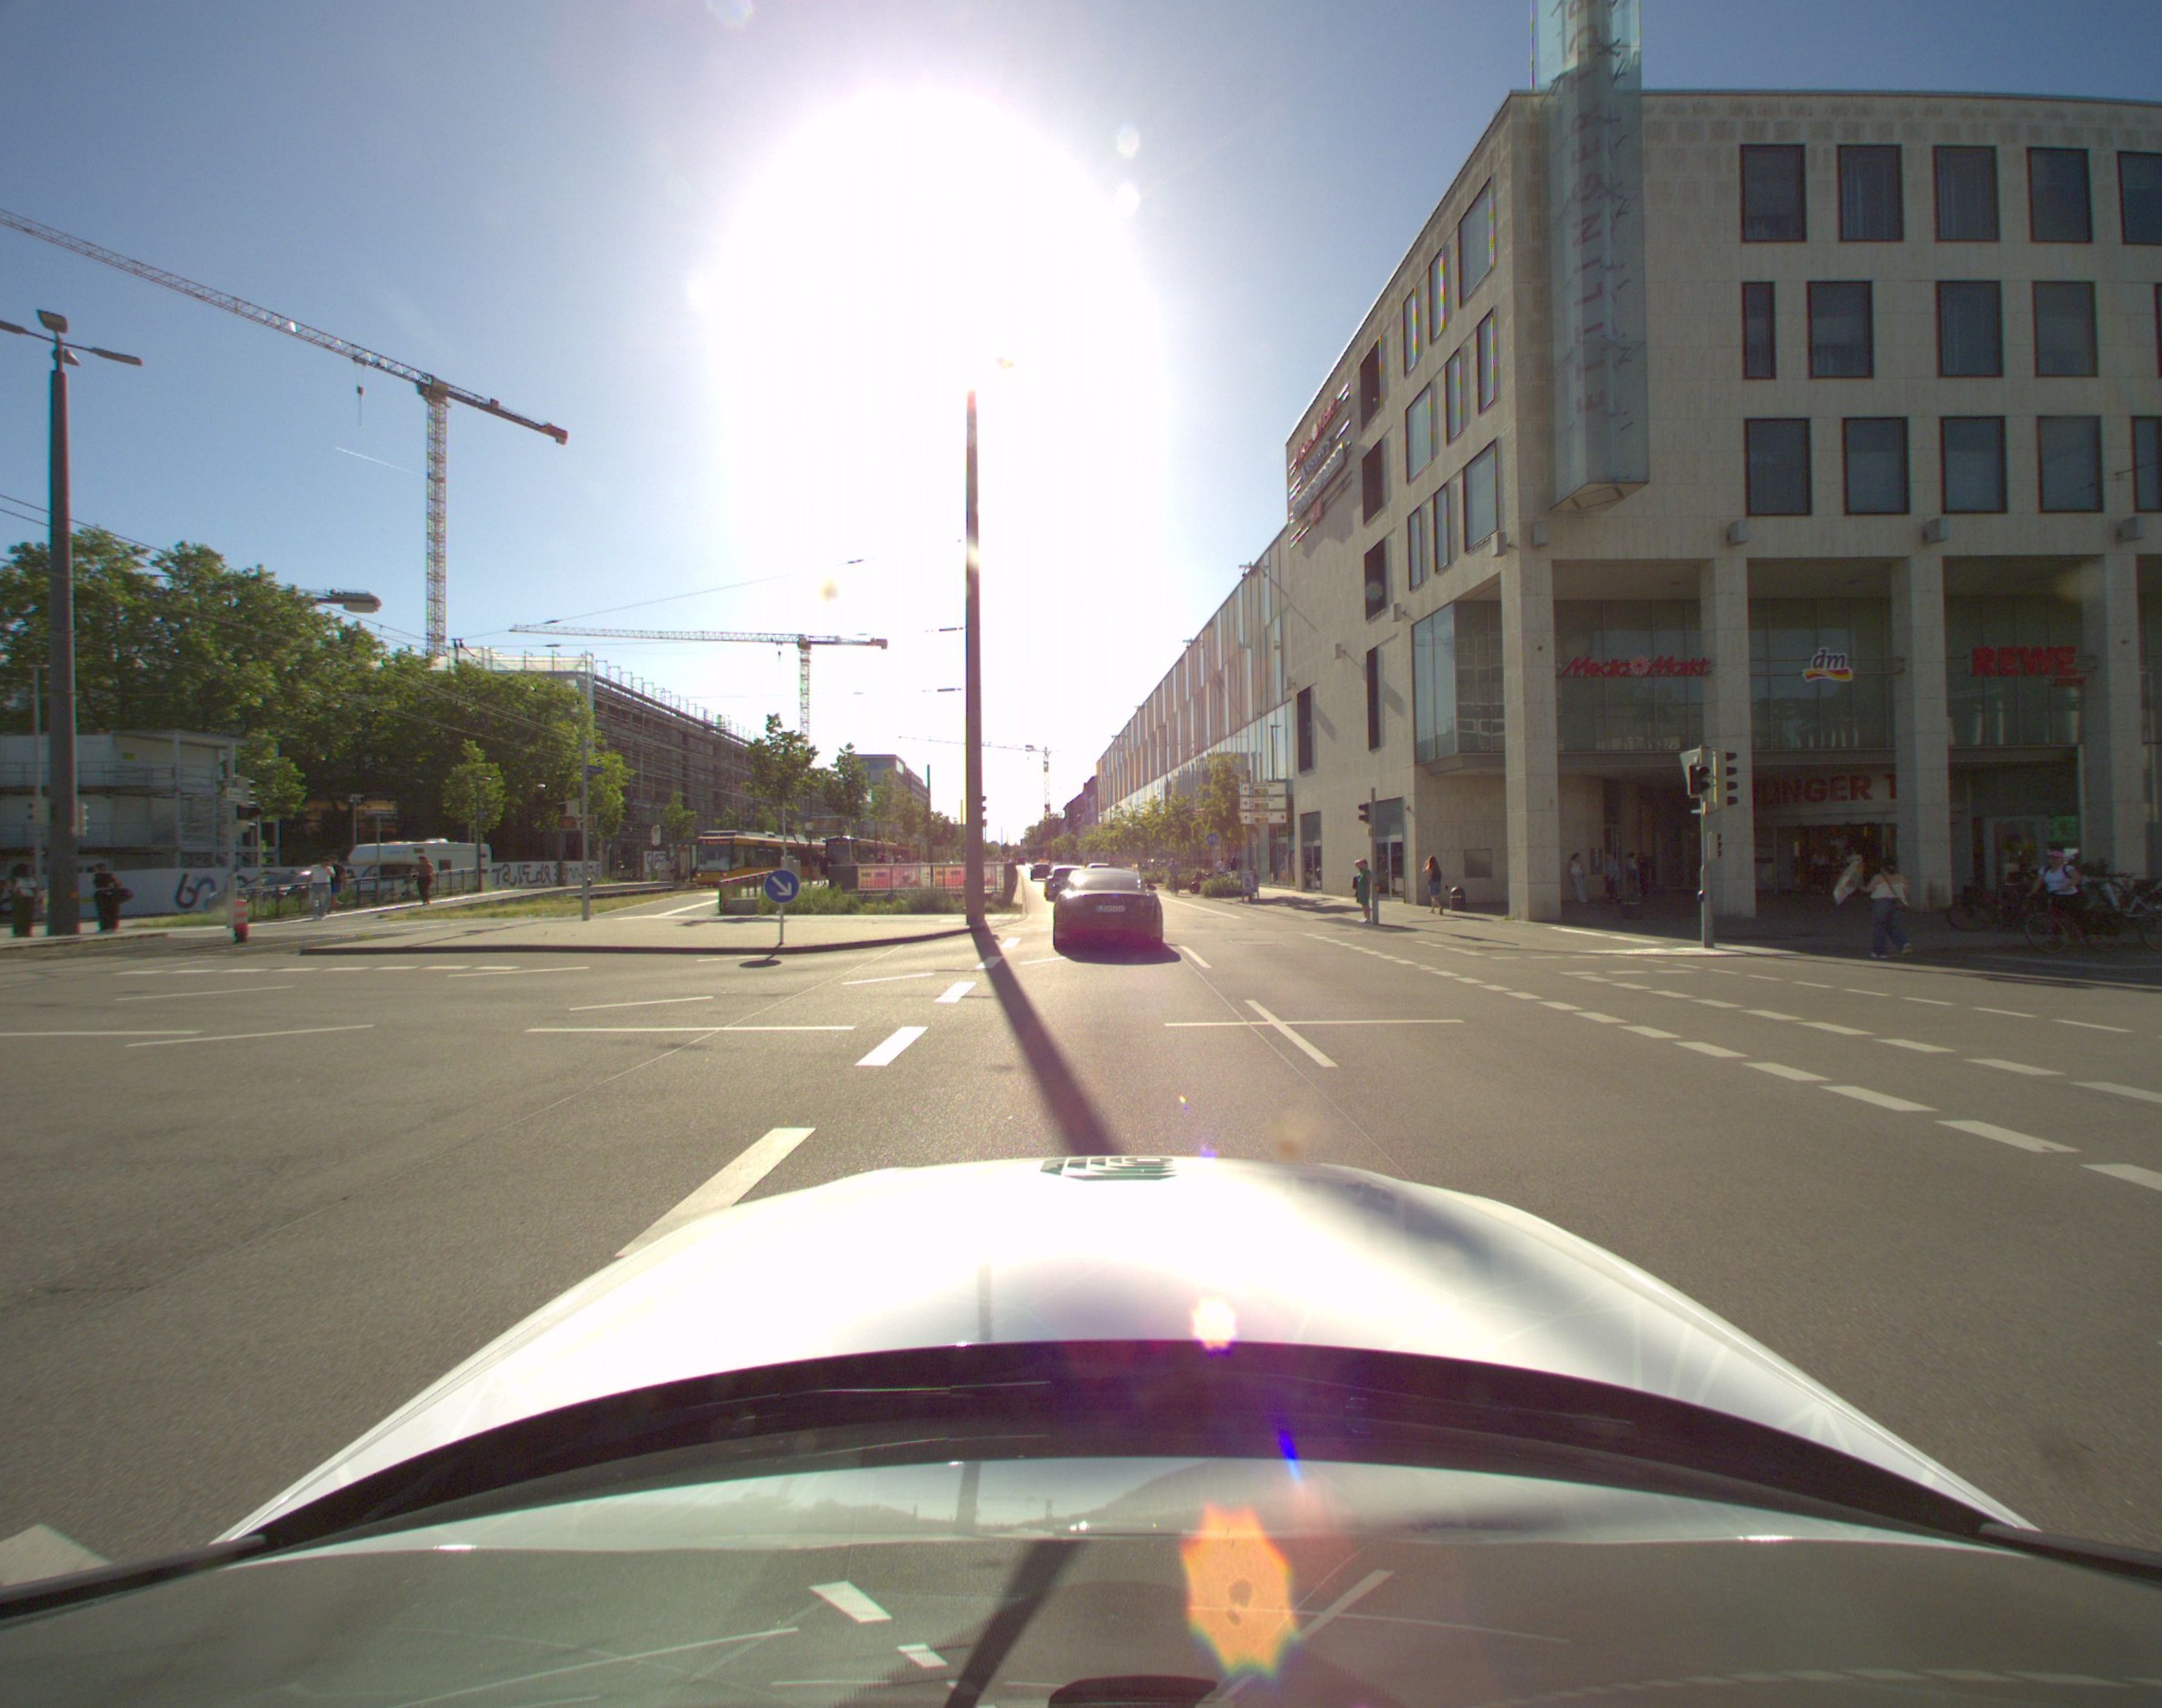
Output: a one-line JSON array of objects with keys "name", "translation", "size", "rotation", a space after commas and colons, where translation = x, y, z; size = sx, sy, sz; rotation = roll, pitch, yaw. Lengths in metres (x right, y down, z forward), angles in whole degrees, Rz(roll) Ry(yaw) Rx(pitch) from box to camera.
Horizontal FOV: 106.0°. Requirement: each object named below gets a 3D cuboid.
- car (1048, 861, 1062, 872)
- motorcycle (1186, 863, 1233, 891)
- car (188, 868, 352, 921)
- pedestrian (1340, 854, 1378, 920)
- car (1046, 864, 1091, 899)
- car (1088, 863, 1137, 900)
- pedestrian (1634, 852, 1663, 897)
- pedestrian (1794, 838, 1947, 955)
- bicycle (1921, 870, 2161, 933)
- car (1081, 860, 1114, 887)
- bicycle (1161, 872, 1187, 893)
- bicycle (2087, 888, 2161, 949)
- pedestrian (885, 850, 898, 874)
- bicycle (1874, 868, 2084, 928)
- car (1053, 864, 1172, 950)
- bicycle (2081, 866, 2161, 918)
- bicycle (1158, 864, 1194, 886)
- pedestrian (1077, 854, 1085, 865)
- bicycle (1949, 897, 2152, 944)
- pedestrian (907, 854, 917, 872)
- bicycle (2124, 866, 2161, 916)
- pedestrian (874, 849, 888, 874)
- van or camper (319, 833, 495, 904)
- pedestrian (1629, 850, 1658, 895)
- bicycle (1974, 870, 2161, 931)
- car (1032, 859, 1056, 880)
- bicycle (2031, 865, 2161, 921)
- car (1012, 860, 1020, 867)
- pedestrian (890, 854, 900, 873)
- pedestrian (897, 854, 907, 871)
[{"name": "car", "translation": [-3.722, 1.777, 116.686], "size": [1.883, 1.596, 3.998], "rotation": [-1, 0, -2]}, {"name": "motorcycle", "translation": [6.423, 1.156, 40.855], "size": [2.182, 1.324, 0.903], "rotation": [-2, -1, -1]}, {"name": "car", "translation": [-29.867, 1.430, 30.218], "size": [1.943, 1.707, 4.359], "rotation": [-1, 0, -6]}, {"name": "pedestrian", "translation": [7.442, 0.862, 21.813], "size": [0.656, 1.702, 0.696], "rotation": [-3, 0, -6]}, {"name": "car", "translation": [-0.589, 1.139, 34.462], "size": [1.713, 1.320, 3.995], "rotation": [0, 0, -3]}, {"name": "car", "translation": [1.279, 1.124, 34.733], "size": [1.713, 1.432, 3.995], "rotation": [0, 0, -3]}, {"name": "pedestrian", "translation": [20.681, 0.743, 29.676], "size": [0.560, 1.608, 0.741], "rotation": [-1, 1, -41]}, {"name": "pedestrian", "translation": [13.121, 0.676, 13.608], "size": [0.965, 1.801, 1.520], "rotation": [-3, 0, -4]}, {"name": "bicycle", "translation": [19.914, 0.921, 17.013], "size": [1.063, 1.094, 3.494], "rotation": [-1, 0, -2]}, {"name": "car", "translation": [1.006, 1.196, 51.304], "size": [1.780, 1.546, 4.034], "rotation": [0, 0, -3]}, {"name": "bicycle", "translation": [4.503, 1.367, 39.630], "size": [0.728, 0.983, 2.327], "rotation": [0, -1, -8]}, {"name": "bicycle", "translation": [18.859, 1.067, 13.858], "size": [2.186, 0.943, 1.071], "rotation": [-1, 0, -1]}, {"name": "pedestrian", "translation": [-15.338, 0.652, 65.846], "size": [0.885, 1.851, 1.006], "rotation": [-1, -1, -5]}, {"name": "bicycle", "translation": [18.739, 0.879, 17.169], "size": [1.063, 1.094, 2.989], "rotation": [-1, 0, -2]}, {"name": "car", "translation": [0.460, 0.919, 15.996], "size": [1.994, 1.434, 4.408], "rotation": [0, -1, -2]}, {"name": "bicycle", "translation": [23.529, 0.818, 16.969], "size": [1.063, 1.094, 3.495], "rotation": [-1, 0, -1]}, {"name": "bicycle", "translation": [5.796, 1.283, 49.683], "size": [2.077, 1.205, 0.951], "rotation": [-2, -1, 2]}, {"name": "pedestrian", "translation": [-0.004, 1.006, 144.179], "size": [1.093, 1.863, 1.520], "rotation": [-1, 0, -6]}, {"name": "bicycle", "translation": [16.357, 1.106, 13.791], "size": [2.186, 0.671, 1.071], "rotation": [-1, 0, -1]}, {"name": "pedestrian", "translation": [-15.421, 0.852, 74.433], "size": [0.740, 1.628, 0.946], "rotation": [-1, -1, -3]}, {"name": "bicycle", "translation": [24.663, 0.824, 17.070], "size": [1.063, 1.094, 3.495], "rotation": [-1, 0, -1]}, {"name": "pedestrian", "translation": [-13.026, 0.486, 53.014], "size": [0.740, 1.628, 0.860], "rotation": [-1, -1, -4]}, {"name": "van or camper", "translation": [-31.013, 0.631, 37.959], "size": [2.601, 2.937, 7.328], "rotation": [-1, 0, -5]}, {"name": "pedestrian", "translation": [20.184, 0.652, 29.231], "size": [0.559, 1.608, 0.741], "rotation": [-1, 1, -40]}, {"name": "bicycle", "translation": [21.082, 0.927, 16.962], "size": [1.063, 1.094, 3.494], "rotation": [-1, 0, -2]}, {"name": "car", "translation": [-3.017, 1.248, 66.762], "size": [1.883, 1.596, 3.998], "rotation": [-1, 0, -2]}, {"name": "bicycle", "translation": [22.369, 0.802, 16.940], "size": [1.063, 1.094, 3.494], "rotation": [-1, 0, -2]}, {"name": "car", "translation": [-17.064, 2.380, 214.274], "size": [1.810, 1.809, 4.034], "rotation": [0, 0, -3]}, {"name": "pedestrian", "translation": [-16.346, 0.810, 71.680], "size": [0.740, 1.628, 0.860], "rotation": [-1, -1, -4]}, {"name": "pedestrian", "translation": [-16.502, 0.778, 75.256], "size": [0.740, 1.628, 0.860], "rotation": [-1, -1, -4]}]
